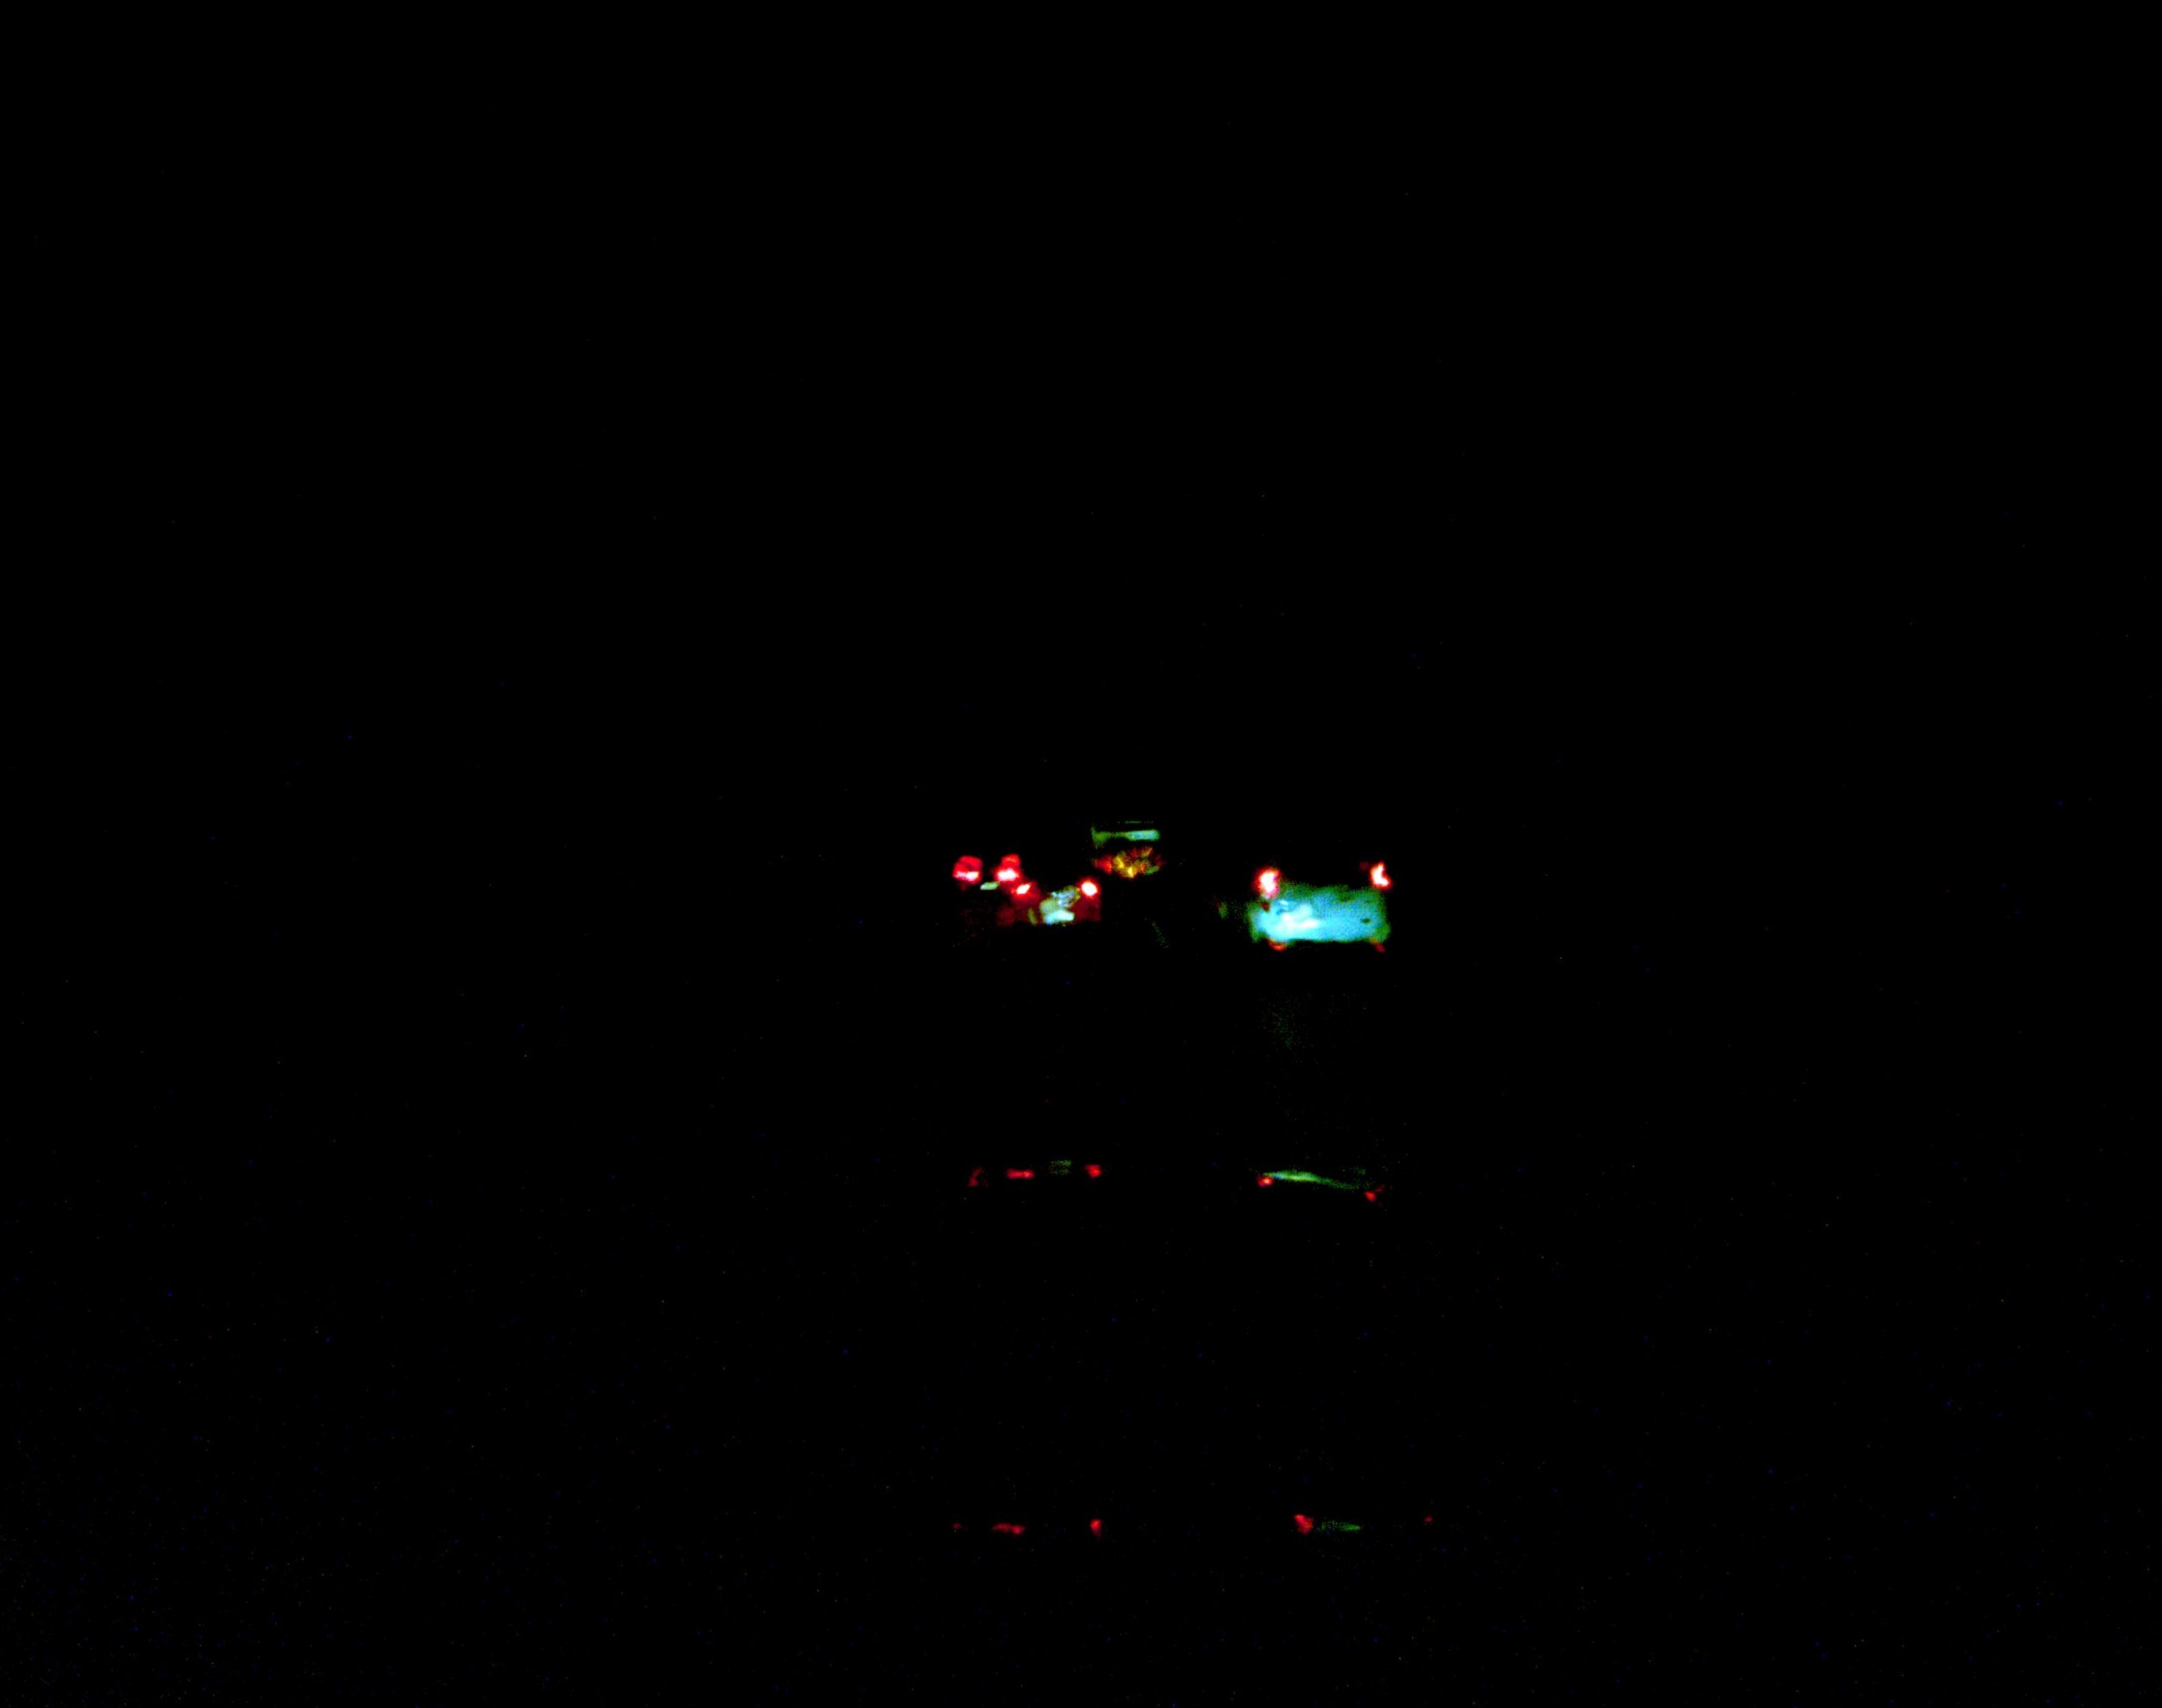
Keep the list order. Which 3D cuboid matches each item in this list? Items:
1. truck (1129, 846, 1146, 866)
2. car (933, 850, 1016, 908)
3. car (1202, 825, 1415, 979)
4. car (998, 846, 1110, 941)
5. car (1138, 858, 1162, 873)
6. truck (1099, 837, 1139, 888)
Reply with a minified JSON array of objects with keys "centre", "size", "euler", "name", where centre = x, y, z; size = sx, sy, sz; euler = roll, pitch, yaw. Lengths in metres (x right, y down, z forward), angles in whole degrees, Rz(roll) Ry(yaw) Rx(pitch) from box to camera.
[{"centre":[15.038,0.502,218.453],"size":[3.810,4.915,11.610],"euler":[-5,-1,2],"name":"truck"},{"centre":[-3.654,0.843,28.993],"size":[1.985,1.777,4.890],"euler":[-3,-1,3],"name":"car"},{"centre":[3.193,0.576,12.620],"size":[1.945,1.792,5.127],"euler":[-3,0,2],"name":"car"},{"centre":[-0.418,0.745,16.781],"size":[1.908,1.594,4.235],"euler":[-3,-1,2],"name":"car"},{"centre":[6.250,1.064,74.194],"size":[1.883,1.354,4.001],"euler":[0,-1,1],"name":"car"},{"centre":[4.563,1.089,98.705],"size":[4.151,5.544,13.079],"euler":[-3,-1,2],"name":"truck"}]
